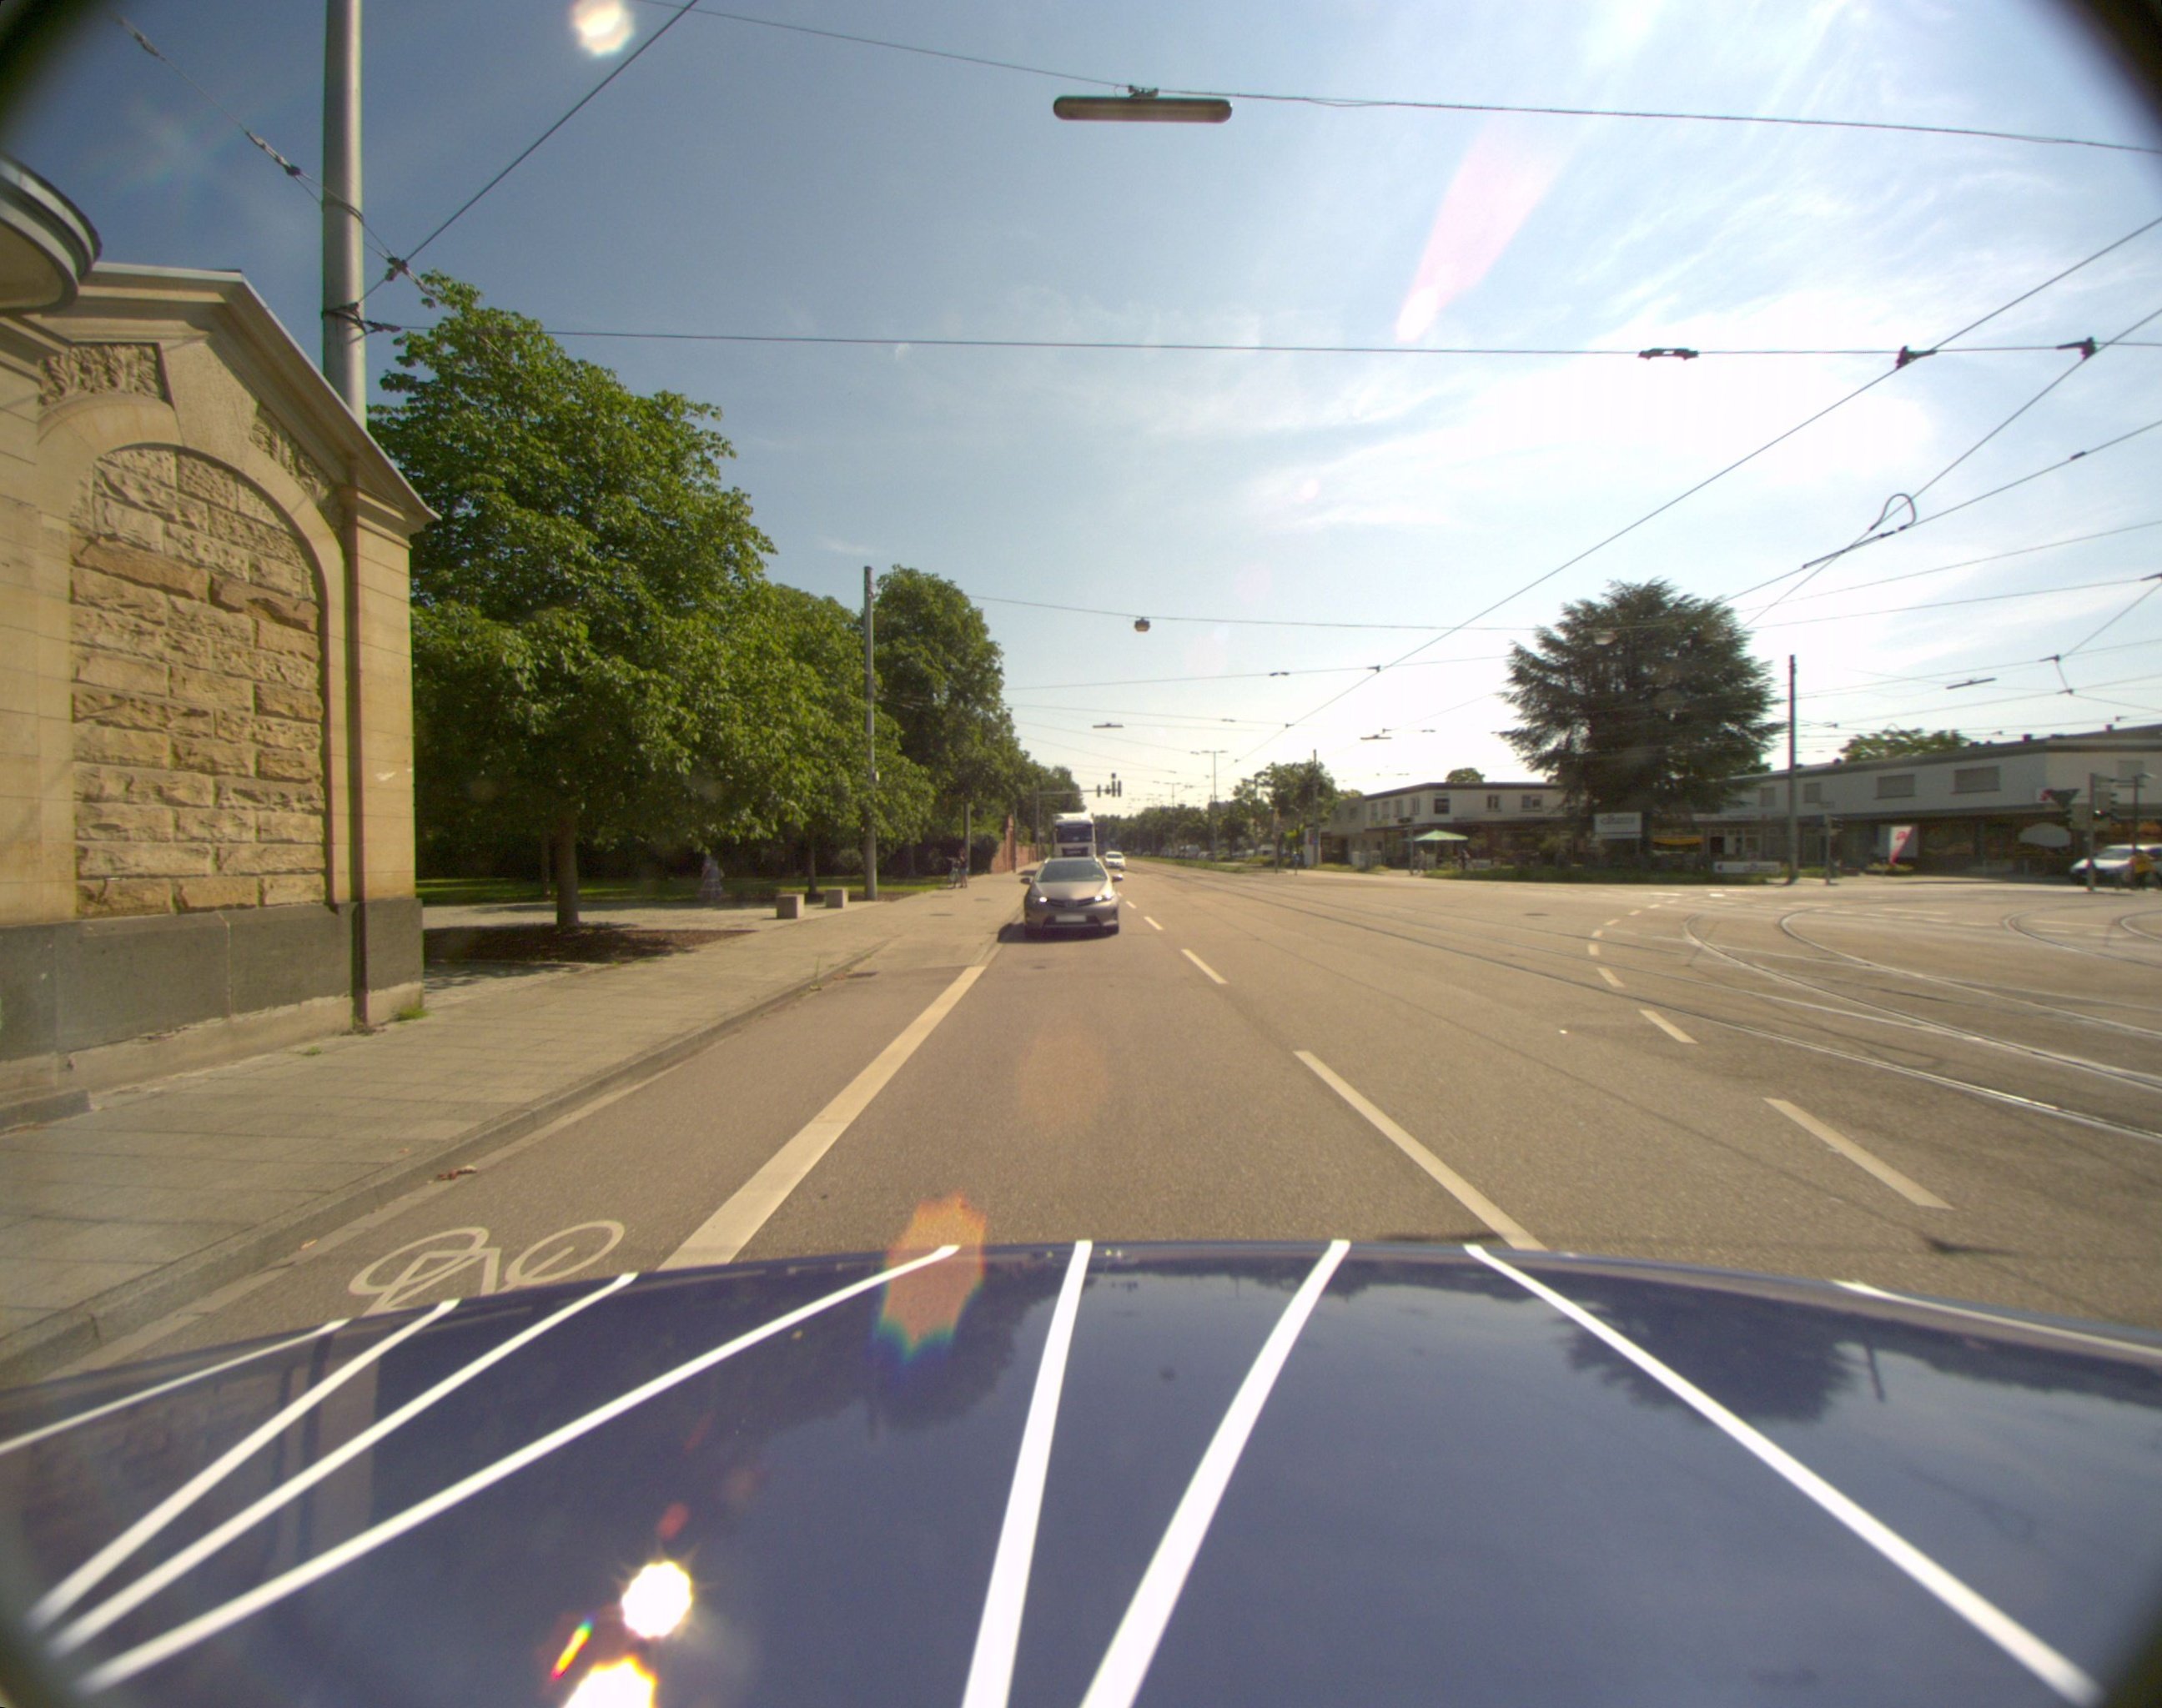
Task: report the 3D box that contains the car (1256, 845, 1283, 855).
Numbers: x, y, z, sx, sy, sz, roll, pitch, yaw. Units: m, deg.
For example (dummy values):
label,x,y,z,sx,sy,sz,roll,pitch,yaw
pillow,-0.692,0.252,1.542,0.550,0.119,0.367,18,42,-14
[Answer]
label,x,y,z,sx,sy,sz,roll,pitch,yaw
car,29.835,-0.599,120.162,3.749,1.560,1.950,0,1,-2

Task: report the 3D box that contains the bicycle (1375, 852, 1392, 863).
label,x,y,z,sx,sy,sz,roll,pitch,yaw
bicycle,27.643,0.281,69.434,0.760,0.977,1.911,0,1,0

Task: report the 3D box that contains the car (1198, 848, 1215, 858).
label,x,y,z,sx,sy,sz,roll,pitch,yaw
car,19.873,-0.182,120.581,1.893,1.551,4.284,0,1,0

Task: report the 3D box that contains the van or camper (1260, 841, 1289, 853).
label,x,y,z,sx,sy,sz,roll,pitch,yaw
van or camper,43.890,-1.645,172.785,6.081,2.715,2.299,0,1,2

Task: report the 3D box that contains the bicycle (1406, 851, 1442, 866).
label,x,y,z,sx,sy,sz,roll,pitch,yaw
bicycle,23.123,0.303,51.191,2.130,0.941,0.537,1,1,39

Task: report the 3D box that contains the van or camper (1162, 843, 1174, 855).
label,x,y,z,sx,sy,sz,roll,pitch,yaw
van or camper,19.982,-1.153,174.225,2.114,2.604,5.451,1,1,0

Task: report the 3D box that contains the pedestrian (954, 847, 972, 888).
label,x,y,z,sx,sy,sz,roll,pitch,yaw
pedestrian,-4.543,0.521,29.255,0.542,1.540,0.663,2,1,-1

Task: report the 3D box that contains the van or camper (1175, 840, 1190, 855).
label,x,y,z,sx,sy,sz,roll,pitch,yaw
van or camper,19.482,-1.256,146.146,2.128,2.968,5.280,0,1,0

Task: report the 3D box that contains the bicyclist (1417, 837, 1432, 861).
label,x,y,z,sx,sy,sz,roll,pitch,yaw
bicyclist,23.123,-0.340,51.192,0.763,1.549,0.633,2,2,38

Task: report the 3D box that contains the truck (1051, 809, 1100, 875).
label,x,y,z,sx,sy,sz,roll,pitch,yaw
truck,-0.283,-0.749,49.237,2.746,3.852,9.109,2,1,0

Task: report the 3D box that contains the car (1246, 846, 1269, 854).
label,x,y,z,sx,sy,sz,roll,pitch,yaw
car,30.971,-0.680,133.311,3.624,1.274,1.712,0,1,-2

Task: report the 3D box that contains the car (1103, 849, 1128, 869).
label,x,y,z,sx,sy,sz,roll,pitch,yaw
car,2.748,0.378,61.180,1.770,1.552,4.066,1,1,0

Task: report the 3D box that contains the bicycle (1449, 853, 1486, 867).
label,x,y,z,sx,sy,sz,roll,pitch,yaw
bicycle,25.190,0.382,49.526,0.577,0.885,2.131,-1,1,-32

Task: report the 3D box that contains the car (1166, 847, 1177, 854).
label,x,y,z,sx,sy,sz,roll,pitch,yaw
car,19.892,-0.695,167.379,1.893,1.551,4.231,0,1,0

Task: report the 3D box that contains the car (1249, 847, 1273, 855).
label,x,y,z,sx,sy,sz,roll,pitch,yaw
car,30.327,-0.487,128.273,3.624,1.274,1.812,0,1,-2

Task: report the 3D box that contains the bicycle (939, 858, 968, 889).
label,x,y,z,sx,sy,sz,roll,pitch,yaw
bicycle,-4.889,0.728,29.296,0.537,1.105,1.808,1,1,10

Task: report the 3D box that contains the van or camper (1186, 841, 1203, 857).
label,x,y,z,sx,sy,sz,roll,pitch,yaw
van or camper,19.562,-0.866,131.203,2.040,2.617,4.839,0,1,0

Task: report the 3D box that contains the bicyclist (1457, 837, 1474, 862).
label,x,y,z,sx,sy,sz,roll,pitch,yaw
bicyclist,25.147,-0.297,49.635,0.633,1.565,0.764,-1,1,-34

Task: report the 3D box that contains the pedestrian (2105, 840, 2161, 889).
label,x,y,z,sx,sy,sz,roll,pitch,yaw
pedestrian,40.034,0.386,28.798,1.201,1.827,0.896,0,1,0

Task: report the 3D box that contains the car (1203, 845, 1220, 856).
label,x,y,z,sx,sy,sz,roll,pitch,yaw
car,19.749,-0.495,115.178,1.892,1.486,4.285,-3,0,1

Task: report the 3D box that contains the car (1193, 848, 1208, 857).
label,x,y,z,sx,sy,sz,roll,pitch,yaw
car,19.761,-0.191,125.794,1.893,1.486,4.231,0,1,0

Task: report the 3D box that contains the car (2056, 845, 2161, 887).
label,x,y,z,sx,sy,sz,roll,pitch,yaw
car,47.959,0.508,34.656,4.656,1.851,1.776,0,1,0

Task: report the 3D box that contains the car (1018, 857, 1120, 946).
label,x,y,z,sx,sy,sz,roll,pitch,yaw
car,-0.191,0.841,15.493,1.743,1.424,4.462,-2,1,0

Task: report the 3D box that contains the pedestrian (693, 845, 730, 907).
label,x,y,z,sx,sy,sz,roll,pitch,yaw
pedestrian,-10.190,0.588,20.953,0.707,1.672,0.652,0,1,-2

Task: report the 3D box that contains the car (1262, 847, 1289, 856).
label,x,y,z,sx,sy,sz,roll,pitch,yaw
car,30.094,-0.378,117.698,3.624,1.354,1.712,0,1,-2
